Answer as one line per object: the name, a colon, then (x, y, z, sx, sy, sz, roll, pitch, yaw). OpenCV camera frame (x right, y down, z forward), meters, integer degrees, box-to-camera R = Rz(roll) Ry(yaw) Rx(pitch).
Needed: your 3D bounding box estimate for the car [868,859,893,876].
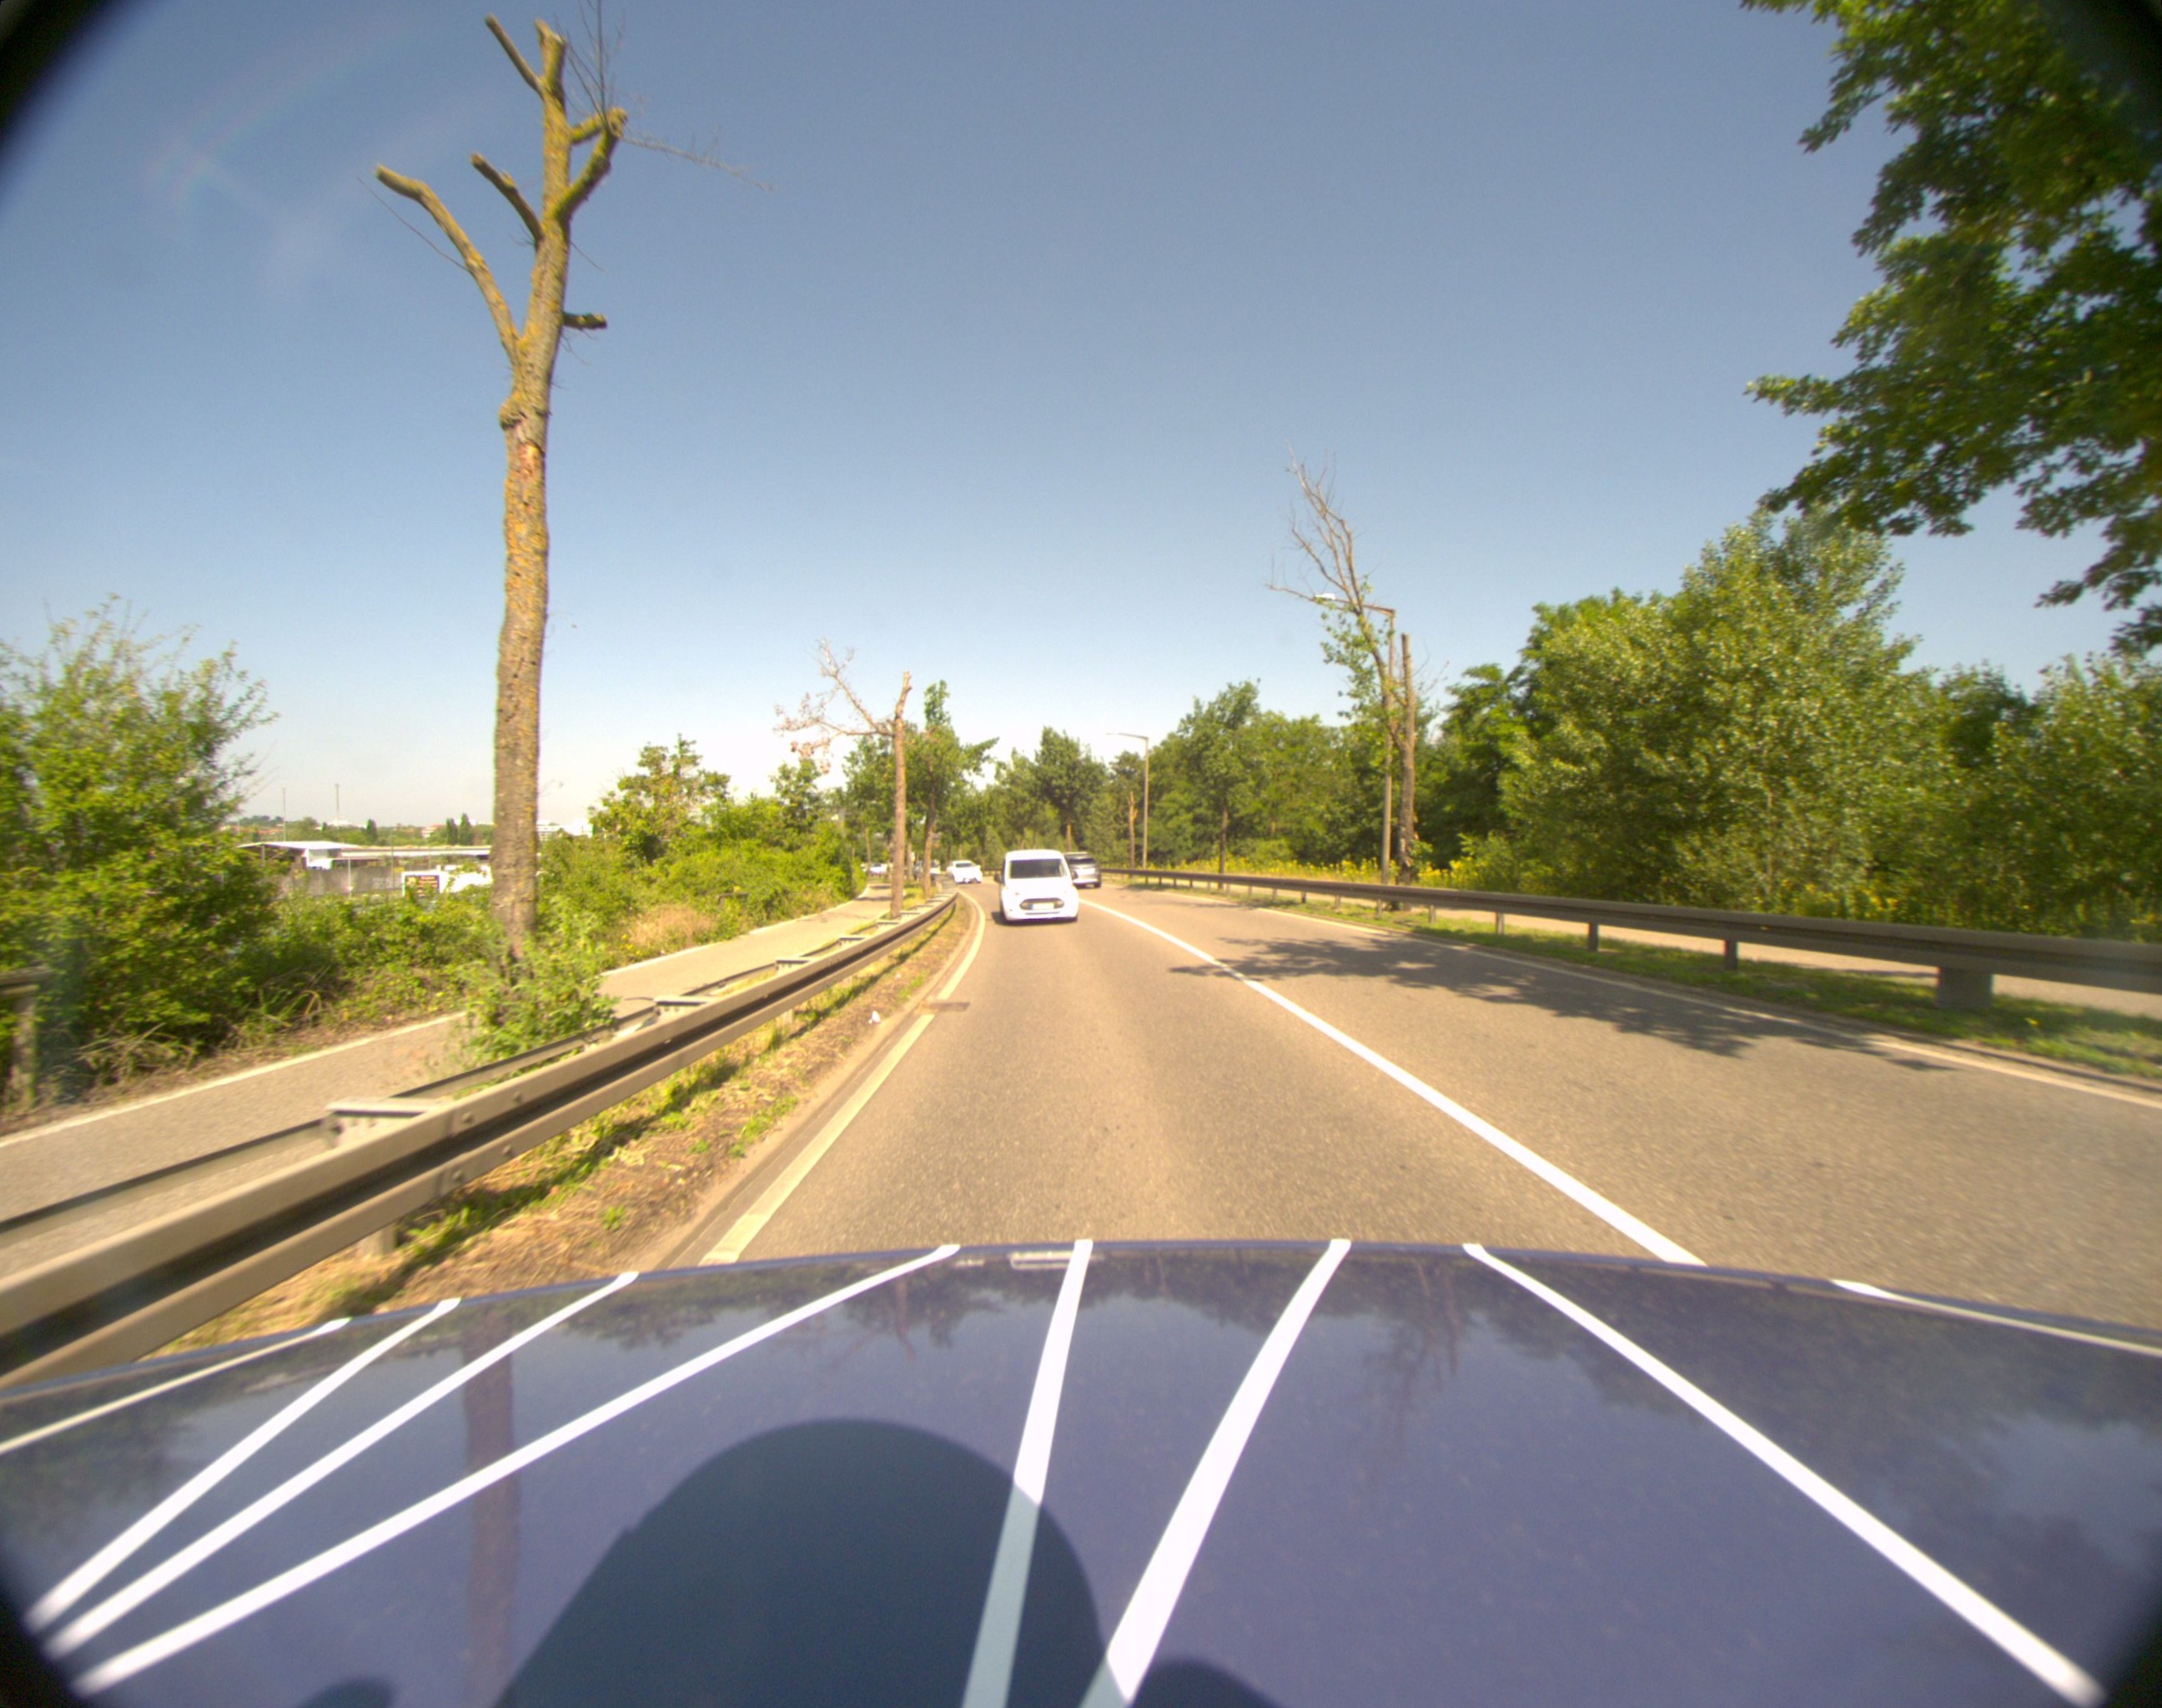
car: (-22.535, 1.444, 85.254, 2.002, 1.757, 3.992, -3, 1, -26)

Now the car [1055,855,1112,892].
car: (0.041, 0.838, 35.051, 1.936, 1.524, 4.114, -2, 0, -9)

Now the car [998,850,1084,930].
car: (-1.162, 0.840, 19.733, 1.898, 1.785, 4.445, -2, 0, -7)

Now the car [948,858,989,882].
car: (-7.369, 1.023, 49.480, 1.849, 1.479, 4.145, -2, 0, -20)

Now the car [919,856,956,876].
car: (-11.697, 0.961, 61.836, 2.002, 1.576, 3.992, -2, 0, -25)
